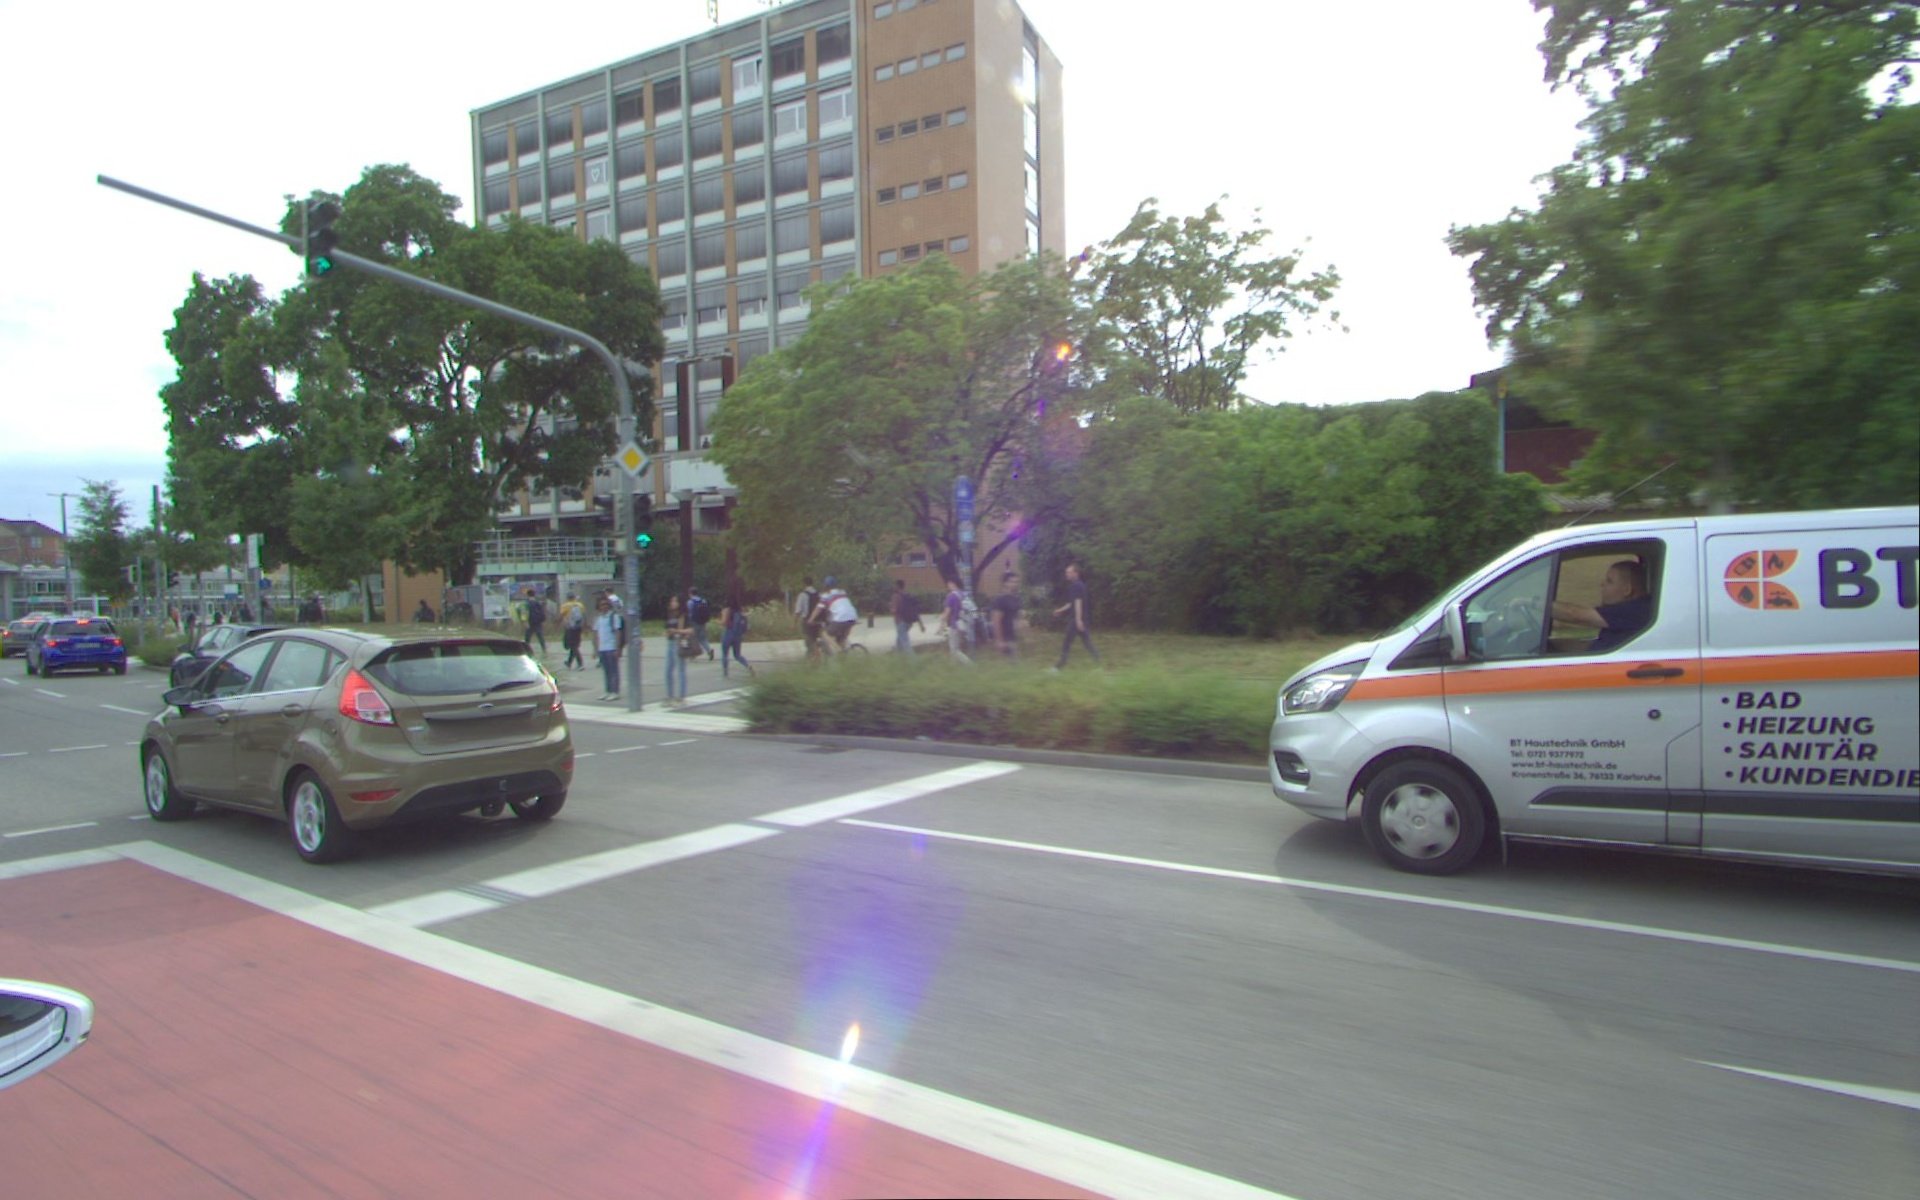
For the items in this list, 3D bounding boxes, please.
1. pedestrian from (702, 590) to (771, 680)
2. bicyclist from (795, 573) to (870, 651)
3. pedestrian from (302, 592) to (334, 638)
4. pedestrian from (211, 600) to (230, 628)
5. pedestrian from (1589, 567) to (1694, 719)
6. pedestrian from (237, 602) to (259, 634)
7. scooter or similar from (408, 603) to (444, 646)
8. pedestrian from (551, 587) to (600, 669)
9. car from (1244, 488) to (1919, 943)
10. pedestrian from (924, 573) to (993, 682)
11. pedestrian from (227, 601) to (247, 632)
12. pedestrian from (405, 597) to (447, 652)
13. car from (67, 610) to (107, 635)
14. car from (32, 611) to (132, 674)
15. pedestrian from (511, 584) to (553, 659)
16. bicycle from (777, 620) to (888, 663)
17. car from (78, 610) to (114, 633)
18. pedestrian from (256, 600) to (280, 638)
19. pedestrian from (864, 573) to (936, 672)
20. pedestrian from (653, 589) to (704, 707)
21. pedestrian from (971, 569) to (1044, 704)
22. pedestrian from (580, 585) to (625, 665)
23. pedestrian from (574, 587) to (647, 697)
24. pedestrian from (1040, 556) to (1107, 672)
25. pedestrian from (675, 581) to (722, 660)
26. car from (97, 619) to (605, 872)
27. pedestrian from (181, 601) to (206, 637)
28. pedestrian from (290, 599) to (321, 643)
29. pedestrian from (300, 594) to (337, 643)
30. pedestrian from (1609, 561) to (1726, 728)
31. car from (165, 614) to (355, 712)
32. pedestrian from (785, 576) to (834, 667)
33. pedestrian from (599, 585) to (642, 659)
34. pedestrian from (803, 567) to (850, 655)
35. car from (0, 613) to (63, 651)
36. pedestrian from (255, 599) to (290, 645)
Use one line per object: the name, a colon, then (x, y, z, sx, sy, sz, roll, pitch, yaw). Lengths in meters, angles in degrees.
pedestrian: (-4.083, 0.627, 18.324, 0.789, 1.564, 0.834, -1, 4, 34)
bicyclist: (-2.204, 0.212, 17.345, 0.999, 1.294, 0.835, -1, -1, 34)
pedestrian: (-24.494, 0.571, 38.191, 0.801, 1.733, 0.776, -1, -1, 34)
pedestrian: (-43.020, 0.828, 58.282, 0.769, 1.595, 0.807, -3, 2, -33)
pedestrian: (8.081, 0.503, 11.913, 0.785, 1.733, 0.839, -1, 0, 16)
pedestrian: (-36.982, 0.929, 52.022, 0.769, 1.595, 0.807, -3, 2, -33)
scooter or similar: (-17.559, 0.806, 32.949, 1.128, 1.388, 0.398, -1, 0, 21)
pedestrian: (-8.346, 0.603, 21.728, 0.698, 1.734, 0.636, -1, 2, 34)
car: (4.329, 0.524, 5.351, 5.129, 1.985, 1.816, -1, -1, 31)
pedestrian: (-0.020, 0.449, 16.410, 0.789, 1.733, 0.835, -1, -1, 34)
pedestrian: (-38.442, 0.880, 53.250, 0.769, 1.595, 0.807, -3, 2, -33)
pedestrian: (-16.092, 0.737, 30.168, 0.801, 1.595, 0.775, -1, 3, 34)
car: (-53.109, 1.382, 60.952, 1.690, 1.438, 3.671, 0, -1, -39)
car: (-23.615, 1.110, 26.883, 1.846, 1.552, 3.963, 0, -1, -44)
pedestrian: (-10.962, 0.545, 25.654, 0.698, 1.877, 0.636, -1, 2, 34)
bicycle: (-2.223, 0.714, 17.365, 1.820, 0.703, 0.839, -1, -1, 34)
car: (-57.419, 1.430, 66.569, 1.690, 1.438, 3.671, 0, -1, -39)
pedestrian: (-30.675, 0.836, 44.418, 0.769, 1.595, 0.807, -3, 2, -33)
pedestrian: (-1.087, 0.409, 18.184, 0.999, 1.733, 0.835, -1, -1, 34)
pedestrian: (-4.219, 0.708, 15.009, 0.580, 1.733, 0.478, -1, 0, 36)
pedestrian: (0.634, 0.479, 13.366, 0.684, 1.733, 0.730, -1, 0, 34)
pedestrian: (-7.961, 0.555, 22.303, 0.698, 1.733, 0.636, -1, 0, 34)
pedestrian: (-5.700, 0.677, 16.321, 0.829, 1.733, 0.795, -1, -1, 36)
pedestrian: (1.857, 0.236, 16.369, 0.789, 1.832, 0.835, -1, -1, 34)
pedestrian: (-5.882, 0.456, 22.512, 0.698, 1.734, 0.636, -1, 3, 34)
car: (-4.510, 0.869, 7.324, 3.646, 1.423, 1.693, -1, -1, 31)
pedestrian: (-35.200, 0.872, 45.981, 0.769, 1.595, 0.807, -3, 2, -33)
pedestrian: (-25.870, 0.829, 39.597, 0.801, 1.733, 0.776, -1, -1, 34)
pedestrian: (-22.696, 0.657, 35.440, 1.014, 1.733, 0.776, -1, -1, 34)
pedestrian: (7.682, 0.479, 10.919, 0.785, 1.733, 0.839, -1, 0, 16)
car: (-12.203, 1.036, 17.406, 3.587, 1.527, 1.661, -1, -1, 37)
pedestrian: (-2.917, 0.413, 19.452, 0.698, 1.733, 0.636, -1, 0, 34)
pedestrian: (-8.062, 0.513, 23.778, 0.698, 1.734, 0.636, -1, 1, 34)
pedestrian: (-2.673, 0.227, 20.085, 0.698, 1.733, 0.636, -1, 0, 34)
car: (-36.514, 1.243, 39.146, 2.117, 1.438, 3.667, 0, -1, -42)
pedestrian: (-26.375, 0.857, 38.411, 1.014, 1.733, 0.776, -1, -1, 34)
